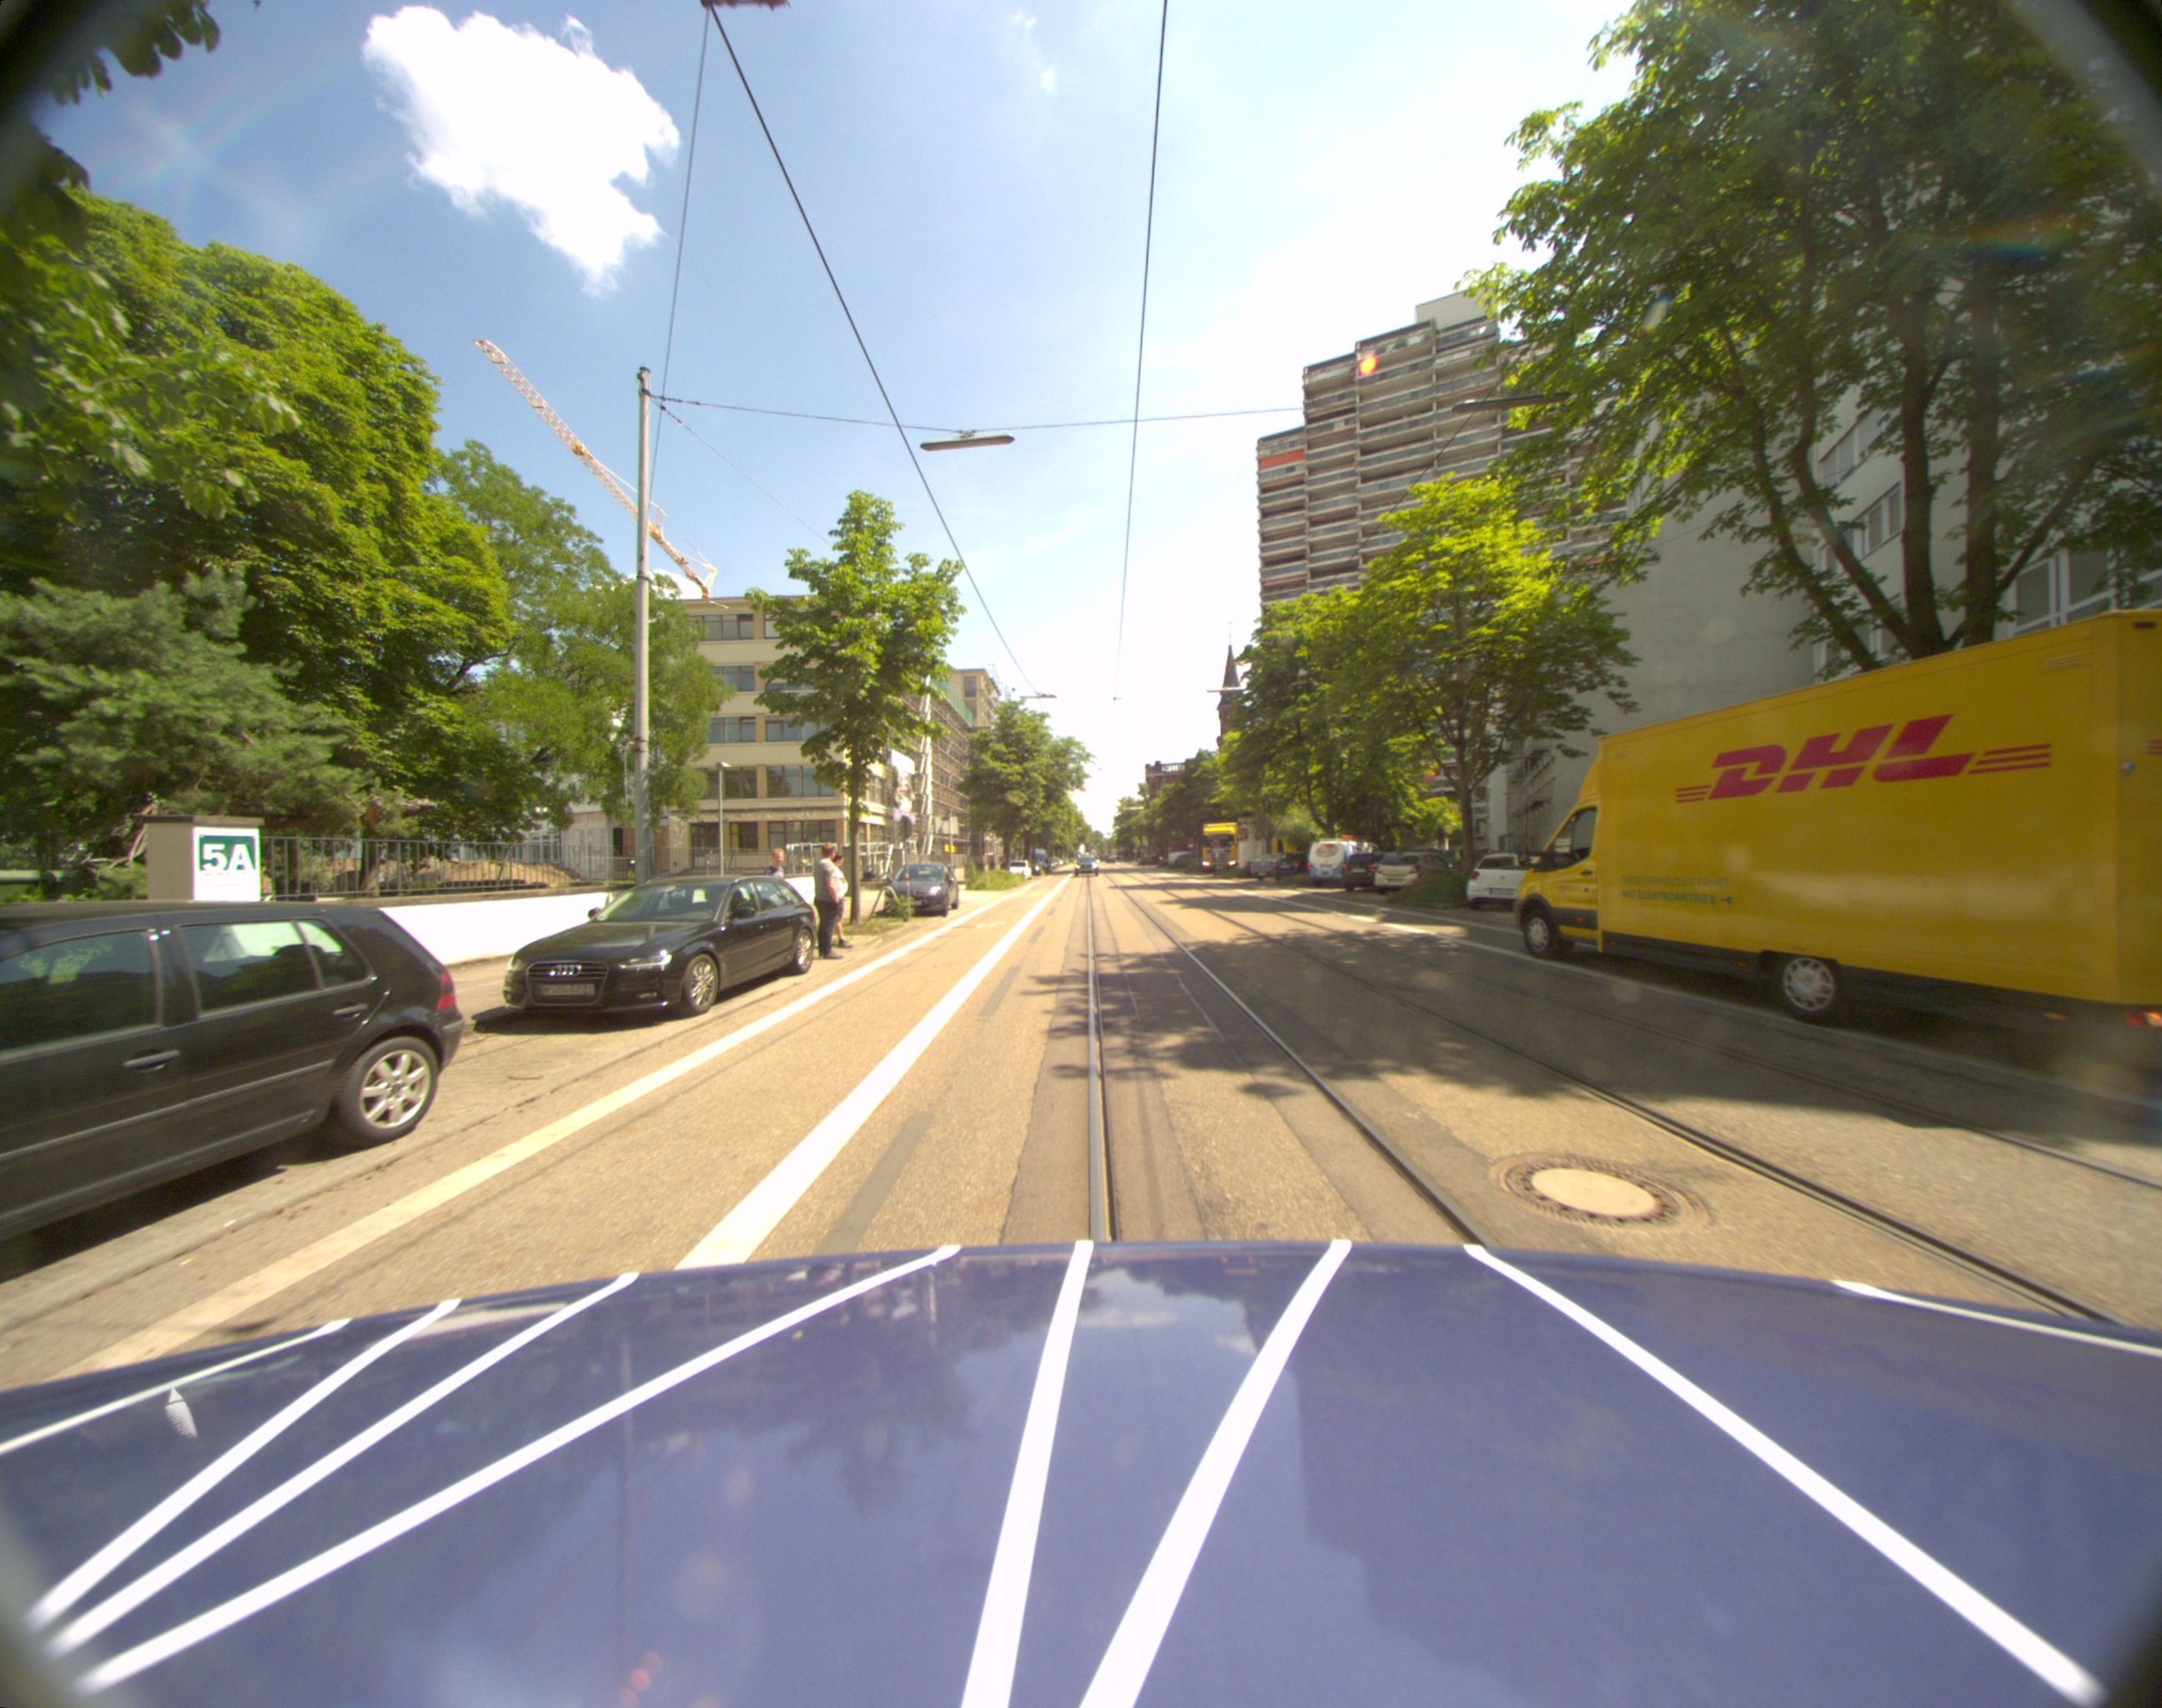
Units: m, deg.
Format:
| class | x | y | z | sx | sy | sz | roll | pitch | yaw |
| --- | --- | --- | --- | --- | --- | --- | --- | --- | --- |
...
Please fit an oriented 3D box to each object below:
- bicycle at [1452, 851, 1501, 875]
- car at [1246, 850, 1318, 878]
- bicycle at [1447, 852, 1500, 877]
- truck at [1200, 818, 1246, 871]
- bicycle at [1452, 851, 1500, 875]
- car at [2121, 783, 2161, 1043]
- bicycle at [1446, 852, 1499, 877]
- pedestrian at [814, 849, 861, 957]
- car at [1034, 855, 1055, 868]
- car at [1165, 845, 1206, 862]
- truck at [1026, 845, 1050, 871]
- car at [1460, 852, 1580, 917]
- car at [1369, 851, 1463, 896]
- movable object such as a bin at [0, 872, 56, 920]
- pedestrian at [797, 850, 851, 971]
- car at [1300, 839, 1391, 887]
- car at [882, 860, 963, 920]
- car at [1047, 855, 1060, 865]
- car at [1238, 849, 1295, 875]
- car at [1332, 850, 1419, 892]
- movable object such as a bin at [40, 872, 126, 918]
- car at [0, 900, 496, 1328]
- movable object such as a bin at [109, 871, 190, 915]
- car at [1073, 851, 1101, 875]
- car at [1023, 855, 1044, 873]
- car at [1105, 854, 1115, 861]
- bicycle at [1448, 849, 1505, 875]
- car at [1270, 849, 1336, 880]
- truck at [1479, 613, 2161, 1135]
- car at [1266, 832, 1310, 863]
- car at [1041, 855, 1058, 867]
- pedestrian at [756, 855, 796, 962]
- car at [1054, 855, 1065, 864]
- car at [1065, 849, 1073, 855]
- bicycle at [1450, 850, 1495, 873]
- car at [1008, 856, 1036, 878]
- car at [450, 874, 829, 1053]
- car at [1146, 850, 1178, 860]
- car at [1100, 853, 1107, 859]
| class | x | y | z | sx | sy | sz | roll | pitch | yaw |
| --- | --- | --- | --- | --- | --- | --- | --- | --- | --- |
| bicycle | 19.037 | 0.450 | 36.596 | 2.013 | 1.069 | 0.558 | -3 | 0 | 26 |
| car | 11.282 | 0.529 | 42.512 | 4.212 | 1.498 | 1.869 | 0 | 0 | -41 |
| bicycle | 18.132 | 0.501 | 35.120 | 2.131 | 1.069 | 0.558 | -3 | 0 | 26 |
| truck | 11.665 | -0.811 | 61.588 | 2.719 | 3.819 | 10.974 | -3 | 1 | 15 |
| bicycle | 19.300 | 0.434 | 37.160 | 2.013 | 1.069 | 0.558 | -3 | 0 | 26 |
| car | 10.934 | 0.451 | 6.608 | 4.772 | 2.050 | 2.021 | 0 | 0 | -38 |
| bicycle | 18.414 | 0.493 | 35.780 | 2.131 | 1.069 | 0.558 | -3 | 0 | 26 |
| pedestrian | -4.316 | 0.838 | 13.434 | 0.577 | 1.849 | 0.724 | -1 | 1 | -35 |
| car | -4.118 | 0.828 | 86.510 | 1.828 | 1.463 | 4.401 | -1 | 0 | 3 |
| car | 12.622 | -0.069 | 91.665 | 4.555 | 1.780 | 1.896 | -3 | 0 | -32 |
| truck | -4.291 | 0.383 | 75.875 | 2.019 | 2.474 | 5.955 | -1 | 0 | 0 |
| car | 11.228 | 0.703 | 19.305 | 1.757 | 1.425 | 4.009 | 2 | 1 | 43 |
| car | 11.770 | 0.628 | 26.621 | 3.717 | 1.459 | 1.757 | 0 | 1 | -45 |
| movable object such as a bin | -34.001 | 1.322 | 24.105 | 1.405 | 1.455 | 1.391 | -1 | 1 | 21 |
| pedestrian | -4.111 | 0.873 | 12.142 | 0.577 | 1.849 | 0.809 | -1 | 1 | -35 |
| car | 11.469 | 0.345 | 32.738 | 1.916 | 1.923 | 4.767 | 1 | 1 | 43 |
| car | -4.447 | 0.954 | 21.801 | 1.643 | 1.477 | 3.871 | -1 | 1 | -3 |
| car | -3.873 | 0.838 | 107.265 | 1.675 | 1.429 | 4.041 | -1 | 0 | -1 |
| car | 11.225 | 0.460 | 45.926 | 1.757 | 1.498 | 3.717 | 0 | 1 | 43 |
| car | 11.407 | 0.602 | 29.322 | 1.812 | 1.498 | 3.717 | 1 | 1 | 45 |
| movable object such as a bin | -33.285 | 1.341 | 25.350 | 1.405 | 1.455 | 1.391 | -1 | 1 | 22 |
| car | -4.859 | 1.054 | 3.049 | 1.715 | 1.415 | 4.243 | -1 | 1 | 0 |
| movable object such as a bin | -32.608 | 1.333 | 26.612 | 1.405 | 1.455 | 1.391 | -1 | 1 | 21 |
| car | 0.469 | 0.673 | 59.900 | 1.998 | 1.731 | 4.227 | -3 | 0 | 0 |
| car | -4.216 | 0.869 | 67.898 | 1.648 | 1.525 | 3.947 | -1 | 0 | 0 |
| car | 5.920 | 0.670 | 155.350 | 1.779 | 1.389 | 4.286 | -2 | 0 | -2 |
| bicycle | 17.222 | 0.352 | 33.138 | 2.131 | 1.069 | 0.558 | -3 | 0 | 26 |
| car | 11.516 | 0.507 | 39.374 | 3.717 | 1.535 | 1.687 | -1 | 1 | -45 |
| truck | 7.099 | 0.103 | 7.782 | 2.366 | 2.836 | 7.378 | -1 | 0 | 2 |
| car | 19.200 | -0.633 | 70.194 | 2.179 | 2.551 | 6.735 | -2 | 2 | 30 |
| car | -3.993 | 0.828 | 96.984 | 1.829 | 1.463 | 4.487 | -1 | 0 | 2 |
| pedestrian | -5.071 | 0.880 | 12.616 | 0.479 | 1.727 | 0.619 | -1 | 2 | -35 |
| car | -3.726 | 0.927 | 129.868 | 1.676 | 1.490 | 4.364 | -1 | 0 | -3 |
| car | -2.826 | -0.471 | 180.035 | 1.756 | 1.263 | 3.833 | -3 | 0 | 1 |
| bicycle | 19.896 | 0.399 | 38.657 | 2.013 | 1.069 | 0.558 | -3 | 0 | 26 |
| car | -4.305 | 0.899 | 55.813 | 1.648 | 1.525 | 3.786 | -1 | 0 | 2 |
| car | -4.803 | 1.071 | 9.244 | 1.881 | 1.446 | 4.527 | -1 | 1 | 1 |
| car | 13.271 | 0.167 | 124.290 | 4.787 | 1.557 | 1.997 | -2 | 0 | -28 |
| car | 6.602 | 0.704 | 219.928 | 1.835 | 1.671 | 4.184 | -1 | 0 | 0 |
